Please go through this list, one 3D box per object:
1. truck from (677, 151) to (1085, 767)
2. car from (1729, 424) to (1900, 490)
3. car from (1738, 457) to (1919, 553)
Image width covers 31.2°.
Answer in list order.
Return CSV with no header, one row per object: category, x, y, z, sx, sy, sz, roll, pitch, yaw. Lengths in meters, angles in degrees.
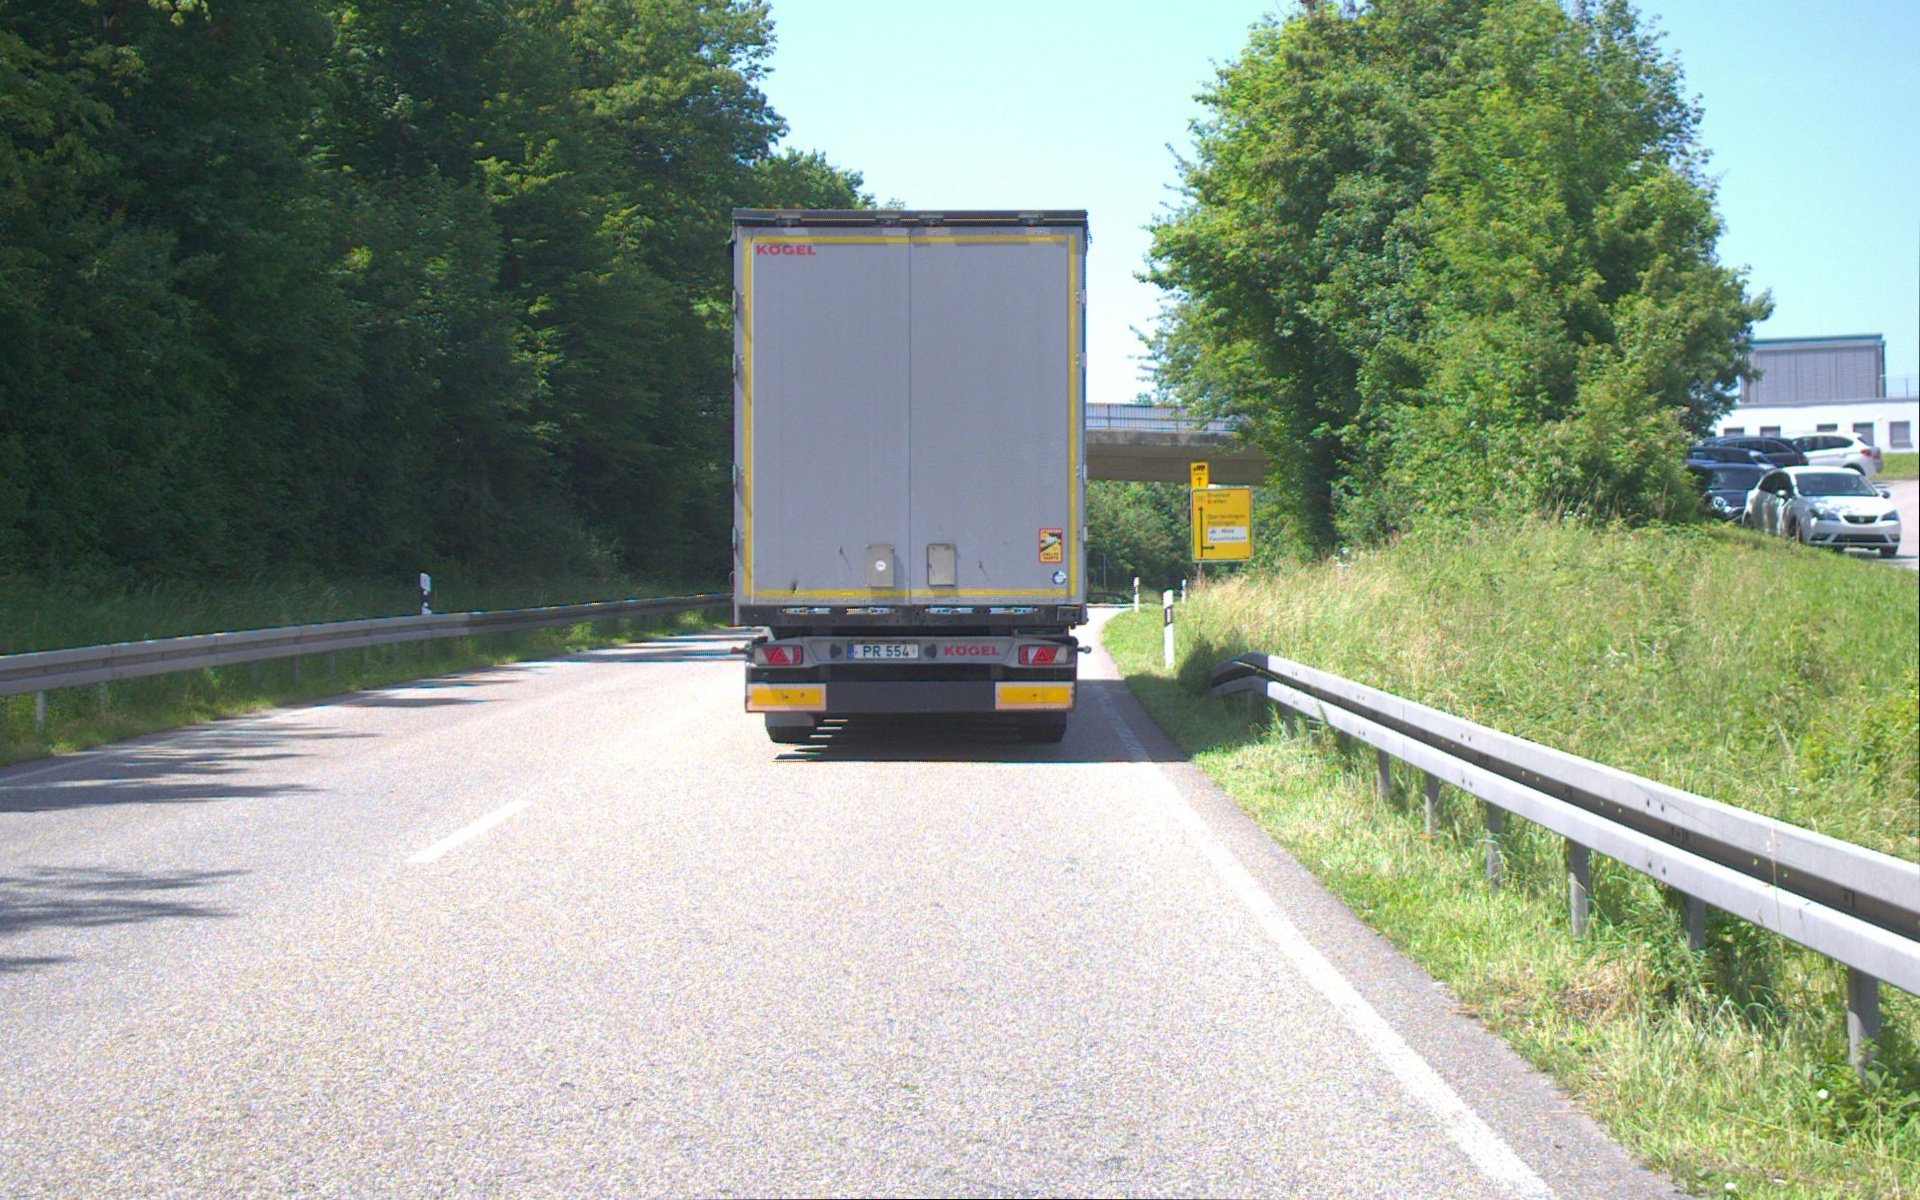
truck,-0.619,-1.085,29.273,2.866,4.344,9.789,0,1,-1
car,23.295,-3.912,93.658,4.362,1.679,1.889,-2,5,-29
car,14.074,-1.569,55.899,1.624,1.349,3.712,4,3,-5
